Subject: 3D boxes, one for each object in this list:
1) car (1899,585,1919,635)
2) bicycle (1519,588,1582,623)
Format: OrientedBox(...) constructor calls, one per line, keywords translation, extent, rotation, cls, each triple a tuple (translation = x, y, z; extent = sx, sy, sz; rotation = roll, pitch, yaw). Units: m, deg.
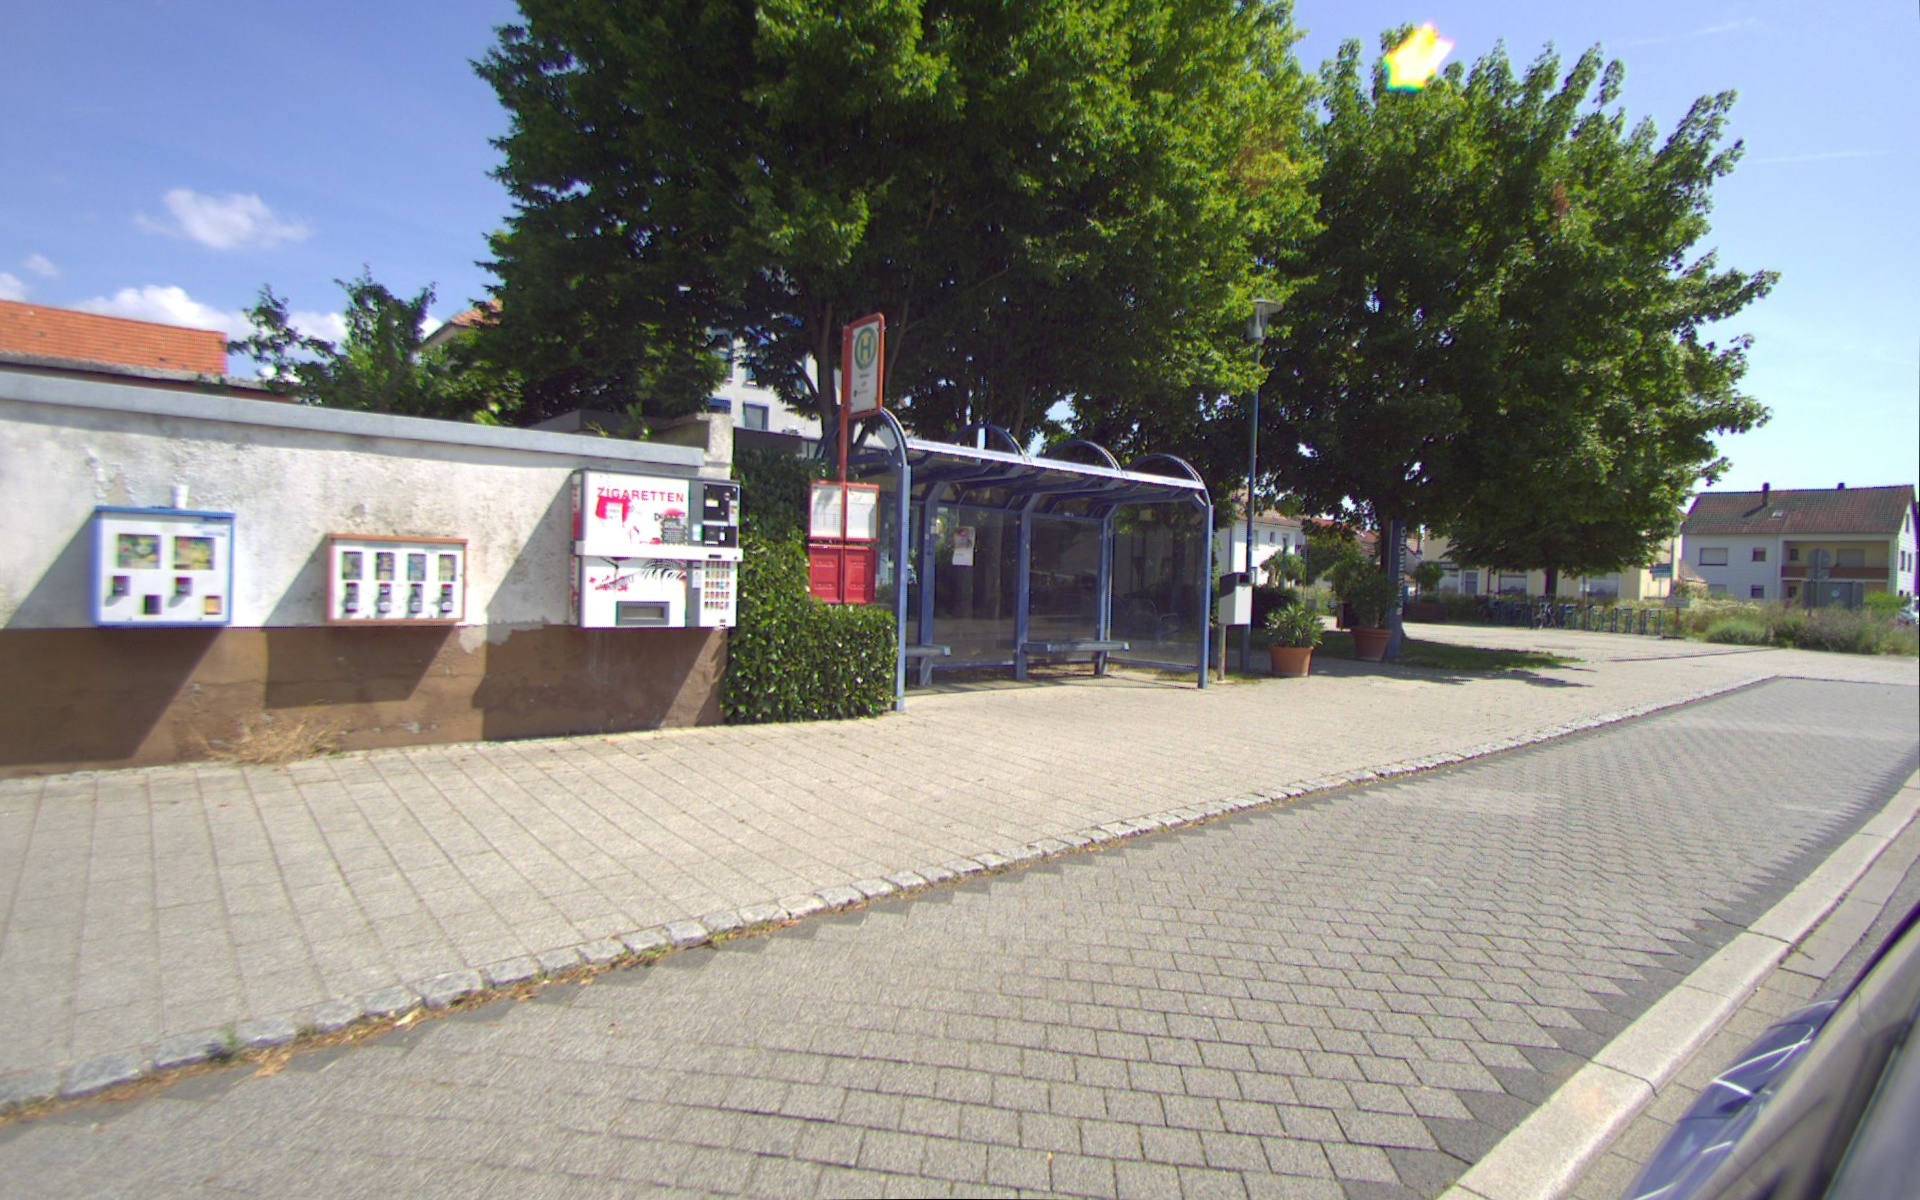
OrientedBox(translation=(33.208, 0.332, 33.952), extent=(1.846, 1.633, 4.085), rotation=(0, 0, 34), cls="car")
OrientedBox(translation=(19.453, 0.171, 33.301), extent=(2.582, 1.125, 0.839), rotation=(0, 1, -37), cls="bicycle")
